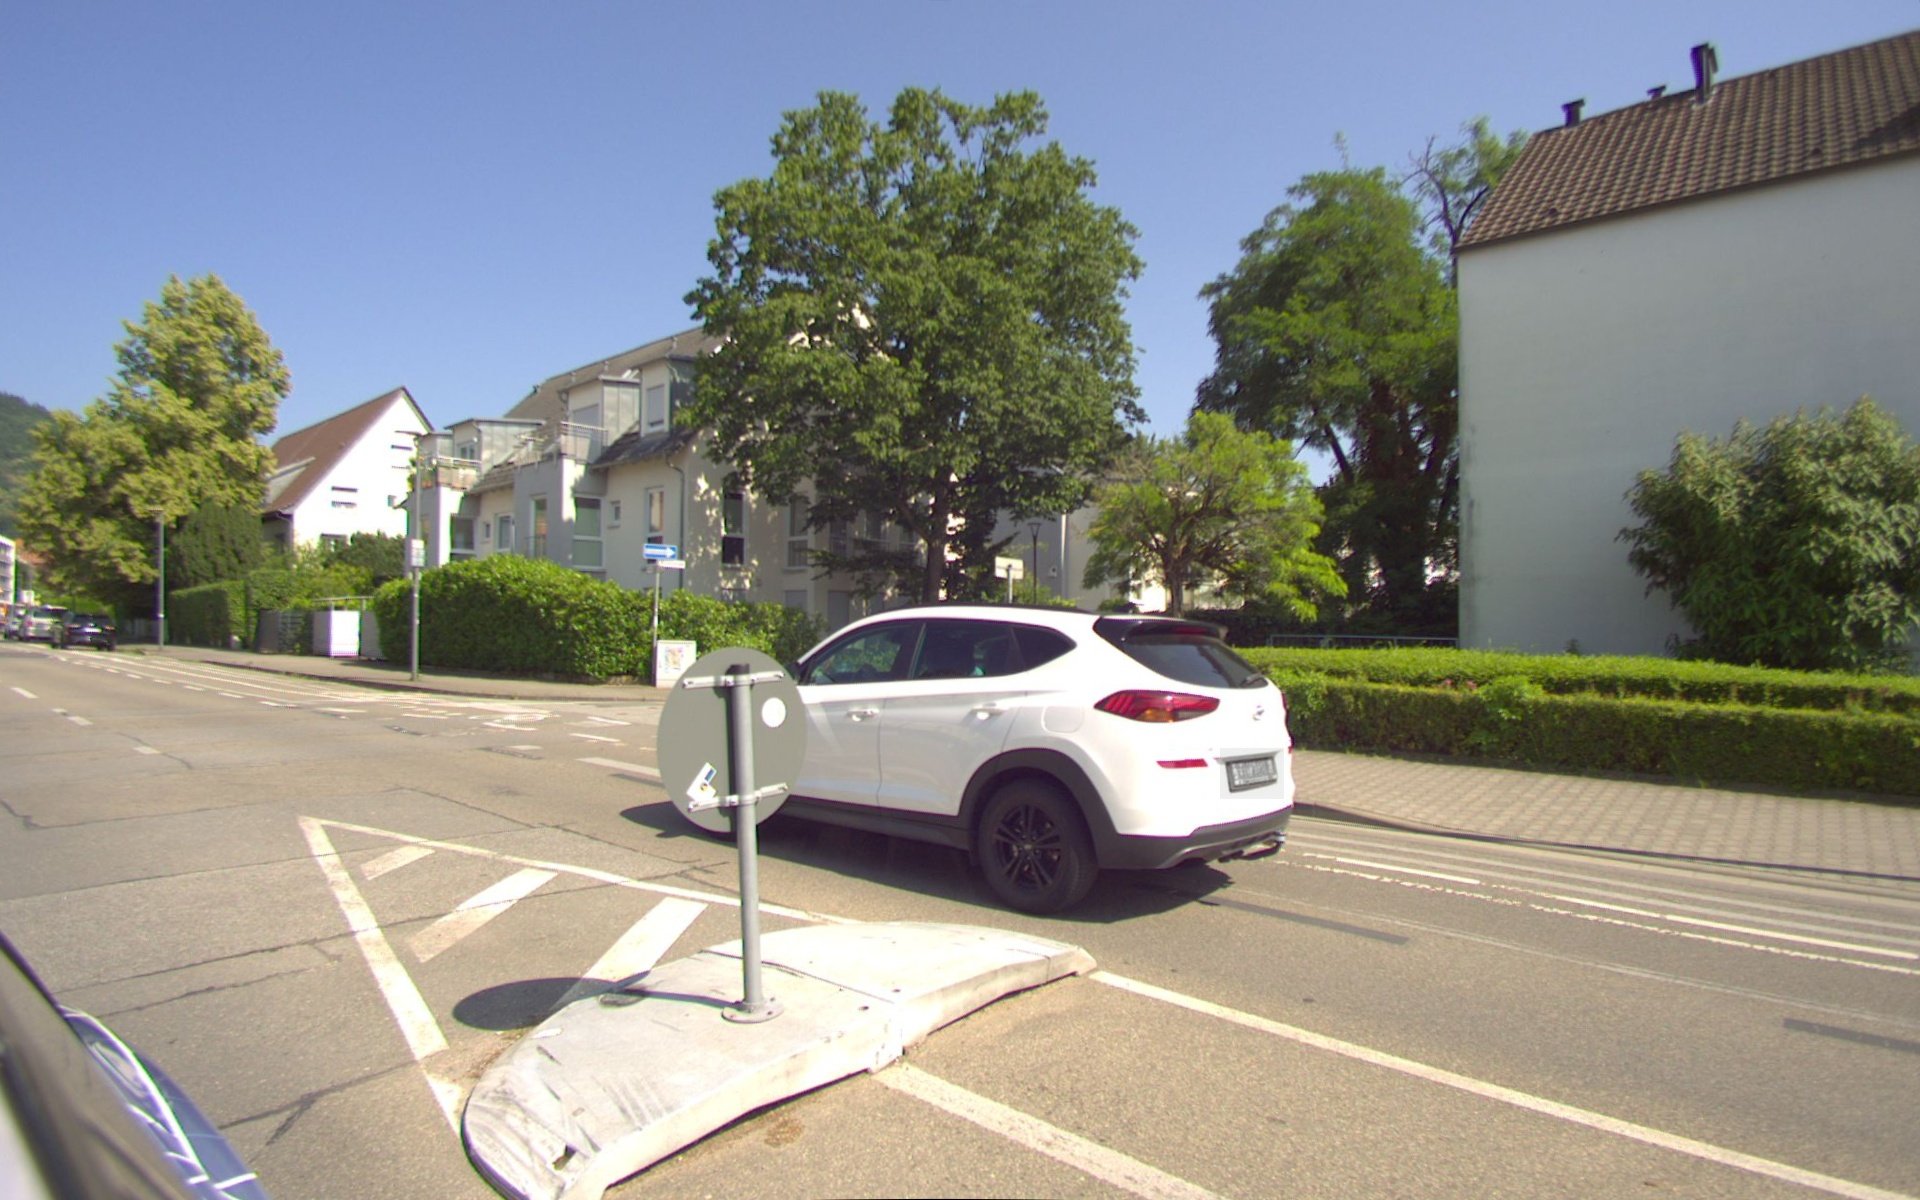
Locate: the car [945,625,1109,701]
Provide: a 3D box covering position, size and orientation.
[{"bbox_3d":[1.482,1.256,21.344,1.725,1.423,3.456,0,-1,41],"label":"car"}]

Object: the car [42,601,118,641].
[{"bbox_3d":[-38.431,0.892,44.171,4.446,1.623,1.831,0,-2,41],"label":"car"}]

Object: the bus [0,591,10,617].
[{"bbox_3d":[-123.295,0.478,129.082,2.713,3.198,9.785,4,-3,-44],"label":"bus"}]

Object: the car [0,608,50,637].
[{"bbox_3d":[-55.510,1.336,59.983,4.561,1.497,1.814,-1,-6,42],"label":"car"}]

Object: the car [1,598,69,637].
[{"bbox_3d":[-48.614,0.899,53.142,4.863,1.934,1.866,0,-3,39],"label":"car"}]

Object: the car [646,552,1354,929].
[{"bbox_3d":[0.006,0.656,6.741,4.504,1.679,1.895,0,-2,41],"label":"car"}]
